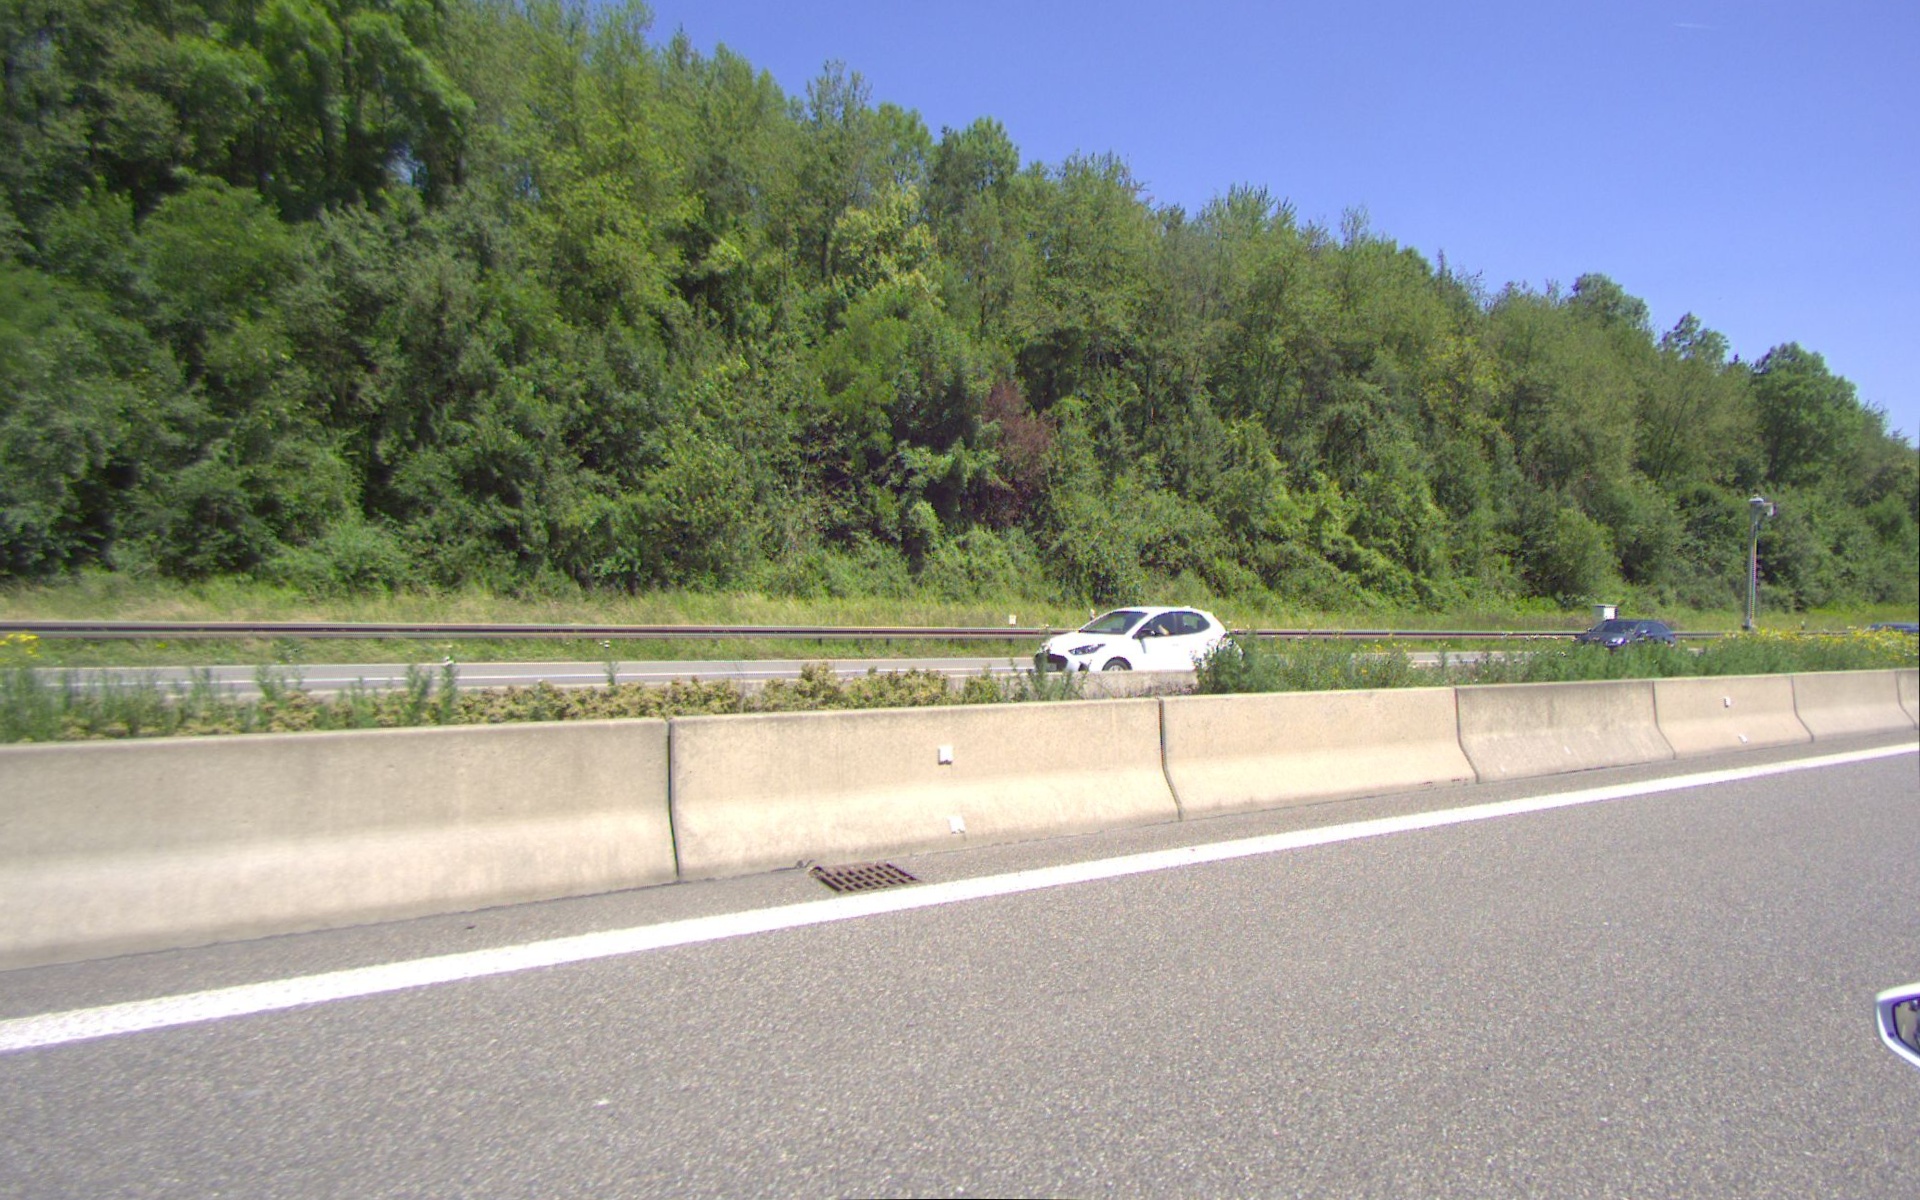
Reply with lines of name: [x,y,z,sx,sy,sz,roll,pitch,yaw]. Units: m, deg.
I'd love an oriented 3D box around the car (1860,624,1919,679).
car: [28.923,1.538,30.212,3.956,1.530,1.752,1,0,-32]

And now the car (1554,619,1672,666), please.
car: [22.674,1.430,34.864,3.955,1.528,1.983,1,0,-32]

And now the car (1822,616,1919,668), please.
car: [33.461,1.519,36.584,3.954,1.751,1.983,1,0,-31]

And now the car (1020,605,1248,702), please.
car: [3.090,0.895,17.687,3.785,1.528,1.662,1,0,-31]
